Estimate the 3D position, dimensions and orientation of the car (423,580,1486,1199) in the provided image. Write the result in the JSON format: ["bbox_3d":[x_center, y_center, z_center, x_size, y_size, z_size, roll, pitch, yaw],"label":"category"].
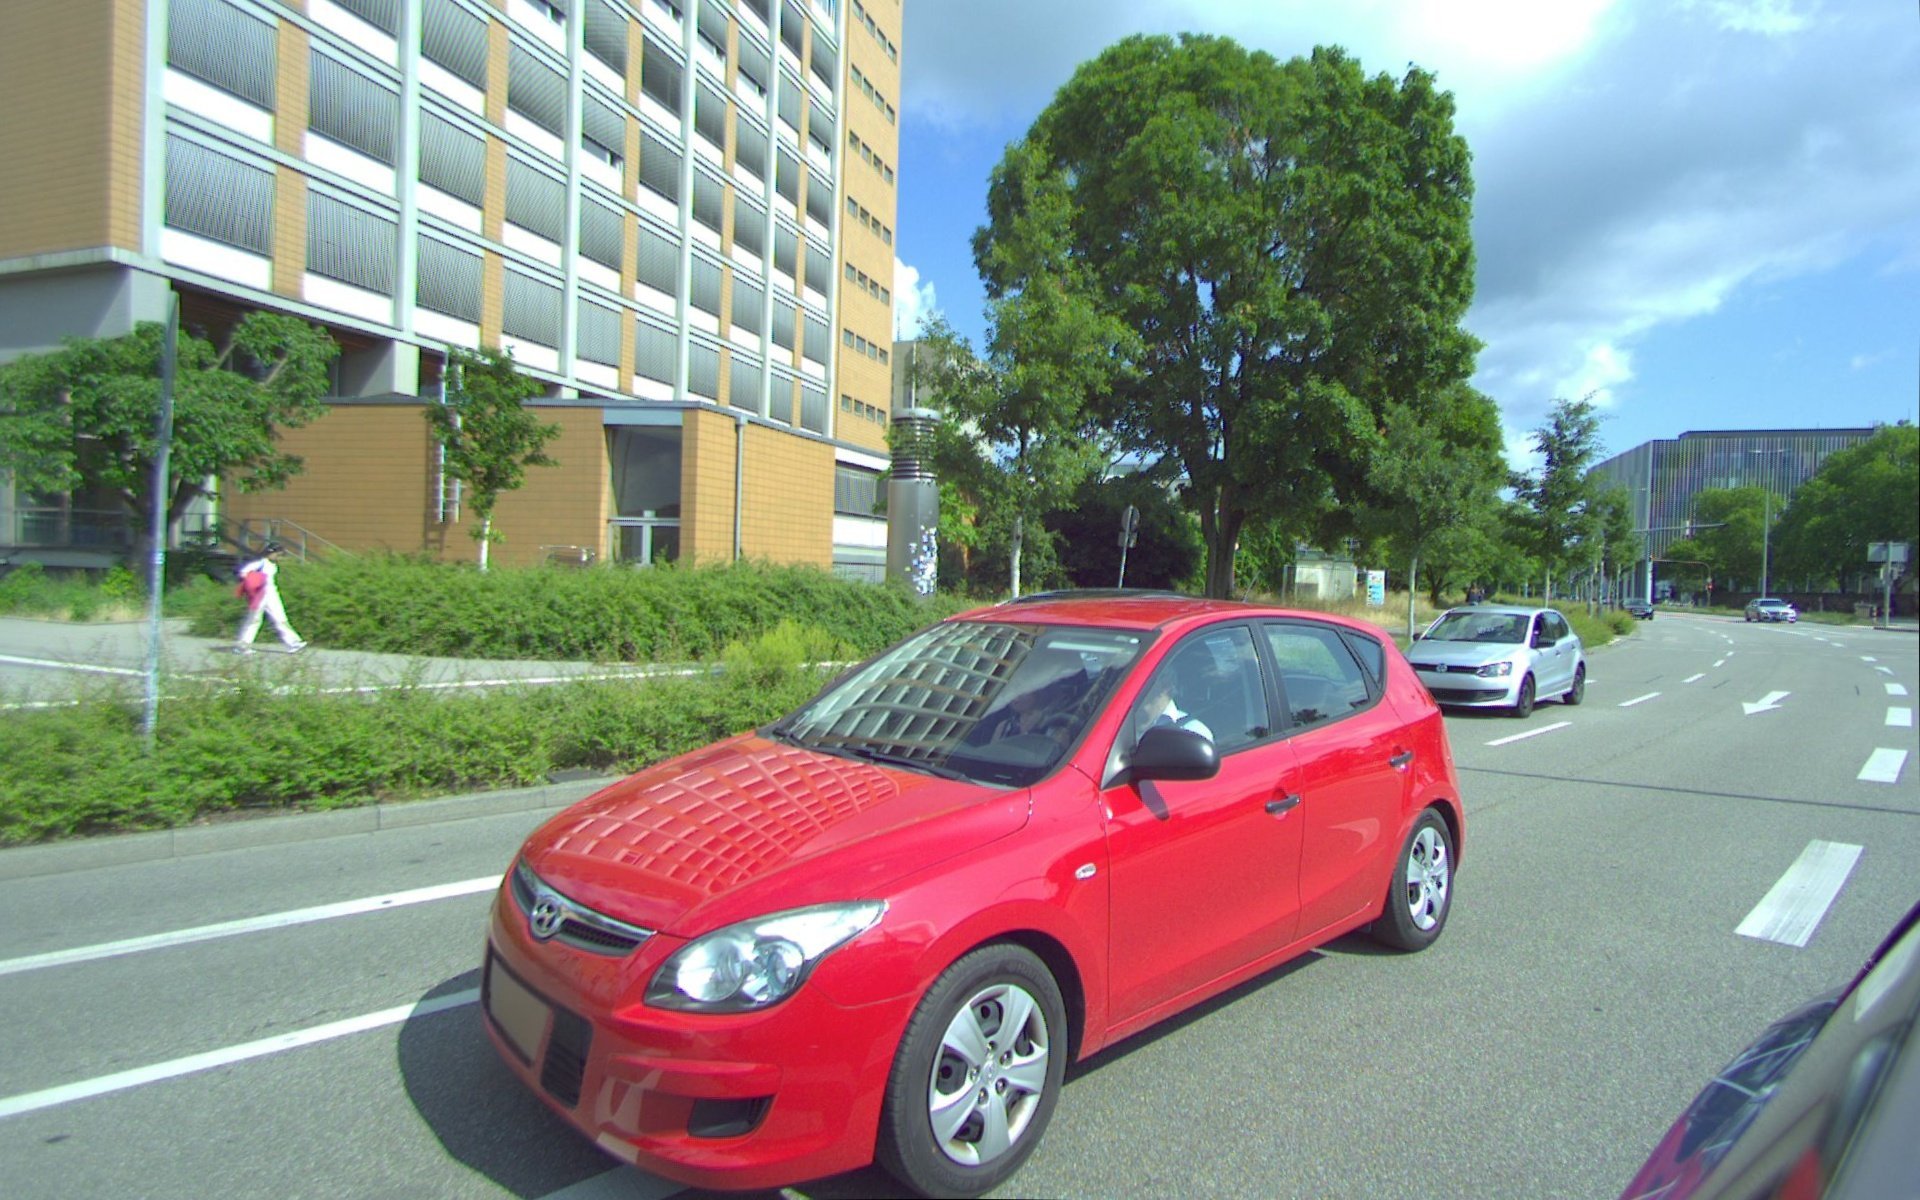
[{"bbox_3d":[0.375,0.678,3.841,3.996,1.486,1.643,-1,1,-43],"label":"car"}]

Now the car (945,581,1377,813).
[{"bbox_3d":[1.951,0.637,8.986,4.140,1.596,1.643,-1,1,-43],"label":"car"}]

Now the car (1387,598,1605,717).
[{"bbox_3d":[7.656,0.696,14.298,4.012,1.402,1.584,-1,1,-44],"label":"car"}]

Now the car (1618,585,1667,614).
[{"bbox_3d":[44.635,-0.058,66.260,1.978,1.777,3.968,0,1,24],"label":"car"}]

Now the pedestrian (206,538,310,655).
[{"bbox_3d":[-10.042,-0.062,14.501,0.940,1.598,0.769,1,1,4],"label":"pedestrian"}]

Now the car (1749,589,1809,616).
[{"bbox_3d":[50.721,0.113,62.781,1.811,1.544,3.969,2,2,23],"label":"car"}]
